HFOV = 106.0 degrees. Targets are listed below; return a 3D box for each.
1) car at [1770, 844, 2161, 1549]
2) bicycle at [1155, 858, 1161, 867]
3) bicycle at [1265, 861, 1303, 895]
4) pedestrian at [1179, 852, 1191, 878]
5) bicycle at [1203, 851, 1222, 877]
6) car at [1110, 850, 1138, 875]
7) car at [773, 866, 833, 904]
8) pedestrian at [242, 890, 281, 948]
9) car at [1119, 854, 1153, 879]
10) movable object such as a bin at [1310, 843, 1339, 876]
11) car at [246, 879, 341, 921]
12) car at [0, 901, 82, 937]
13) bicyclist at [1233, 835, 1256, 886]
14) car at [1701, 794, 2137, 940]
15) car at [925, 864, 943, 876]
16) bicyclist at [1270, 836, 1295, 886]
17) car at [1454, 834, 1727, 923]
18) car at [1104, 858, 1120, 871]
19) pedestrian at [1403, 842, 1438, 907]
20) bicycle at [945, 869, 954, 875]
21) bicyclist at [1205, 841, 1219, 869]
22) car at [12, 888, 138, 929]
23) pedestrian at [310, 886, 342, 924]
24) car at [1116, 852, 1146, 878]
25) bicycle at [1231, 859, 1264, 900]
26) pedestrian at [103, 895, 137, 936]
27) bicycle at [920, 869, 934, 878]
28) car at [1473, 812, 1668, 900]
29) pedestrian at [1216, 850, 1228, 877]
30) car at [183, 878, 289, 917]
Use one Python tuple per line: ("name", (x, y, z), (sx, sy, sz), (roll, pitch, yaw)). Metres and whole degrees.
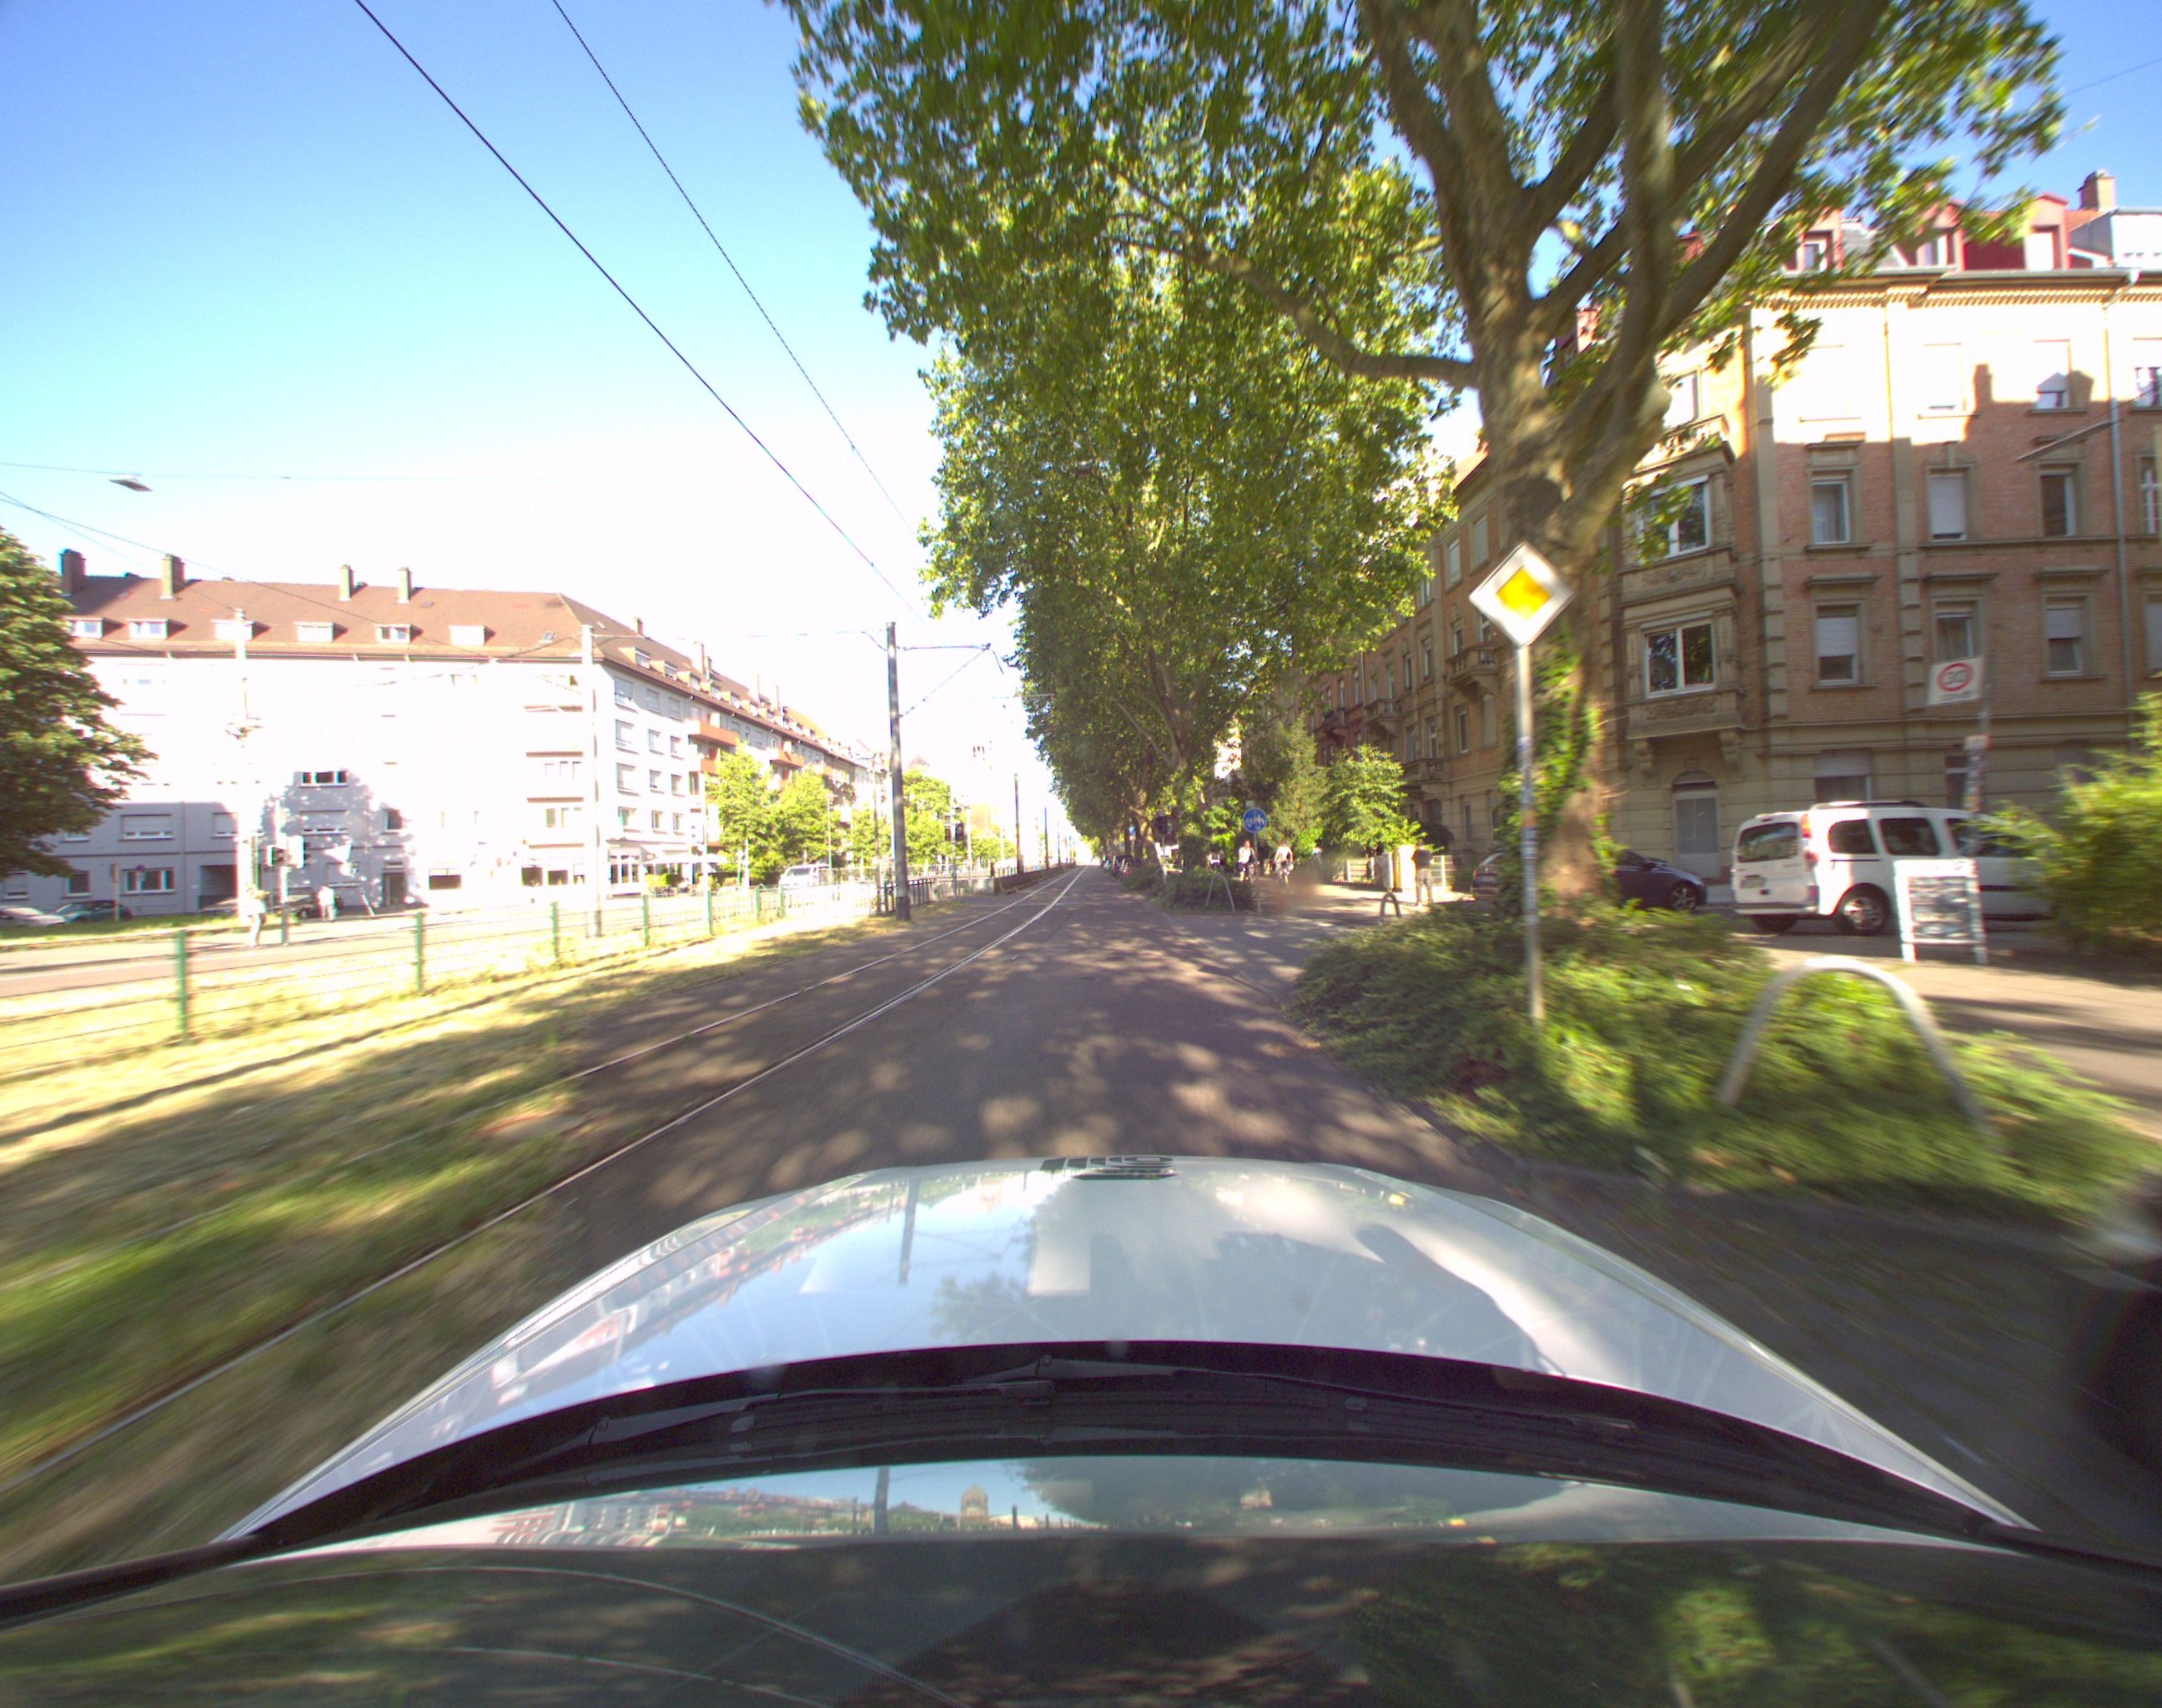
("car", (2.986, 0.674, 0.257), (1.670, 1.394, 4.571), (-4, 0, 1))
("bicycle", (9.913, 1.050, 105.197), (0.473, 1.143, 1.896), (-5, 0, 1))
("bicycle", (6.836, 0.798, 27.478), (0.560, 1.037, 1.929), (-4, 1, -6))
("pedestrian", (7.448, 0.791, 58.546), (0.687, 1.785, 0.644), (-3, 0, -1))
("bicycle", (6.706, 0.512, 41.645), (0.559, 1.178, 2.226), (-3, 2, -1))
("car", (3.731, 0.736, 71.301), (1.988, 2.013, 5.200), (-3, 0, -1))
("car", (-16.686, 1.813, 49.175), (1.989, 2.013, 5.006), (-4, -1, -3))
("pedestrian", (-24.768, 1.955, 24.625), (0.493, 1.673, 0.752), (0, -1, -14))
("car", (3.260, 0.771, 49.217), (1.709, 1.462, 3.998), (-1, -1, -1))
("movable object such as a bin", (11.397, 0.253, 38.172), (0.904, 1.464, 1.083), (-4, 0, -1))
("car", (-42.489, 2.436, 44.072), (1.820, 2.014, 3.966), (0, 0, -12))
("car", (-46.585, 2.843, 35.475), (3.662, 1.420, 1.694), (-1, 0, -9))
("bicyclist", (5.359, 0.194, 26.741), (0.541, 1.625, 0.644), (-3, 1, -1))
("car", (12.259, 0.188, 12.158), (4.533, 1.846, 1.907), (-2, -1, -1))
("car", (-20.258, 2.244, 112.605), (1.827, 1.585, 3.997), (0, 0, -1))
("bicyclist", (6.761, 0.233, 27.381), (0.542, 1.625, 0.643), (-3, 0, -6))
("car", (10.542, 0.484, 17.084), (4.535, 1.539, 1.906), (-3, -1, -2))
("car", (3.950, 1.327, 103.618), (1.796, 1.477, 4.646), (-2, -1, 0))
("pedestrian", (8.280, 0.489, 19.890), (0.537, 1.549, 0.607), (-3, 2, -1))
("bicycle", (-20.365, 2.825, 125.956), (1.272, 0.905, 0.534), (0, -1, -30))
("bicyclist", (6.688, 0.069, 41.573), (0.541, 1.380, 0.644), (-3, 2, -1))
("car", (-51.768, 2.763, 42.051), (1.995, 1.860, 3.984), (0, 0, -12))
("pedestrian", (-31.763, 2.144, 34.271), (0.655, 1.556, 0.728), (0, -1, 0))
("car", (3.354, 0.769, 55.061), (1.709, 1.549, 4.500), (-4, -1, 0))
("bicycle", (5.391, 0.806, 26.496), (0.559, 1.178, 2.225), (-3, 2, -1))
("pedestrian", (-40.251, 2.575, 34.102), (0.508, 1.655, 0.721), (-3, -1, 2))
("bicycle", (-20.754, 2.671, 109.586), (1.801, 1.178, 0.563), (0, -1, 2))
("car", (12.851, 0.006, 21.549), (3.977, 2.013, 1.999), (-3, 3, -2))
("pedestrian", (8.614, 0.562, 49.699), (0.528, 1.627, 0.618), (-4, 0, 1))
("car", (-45.073, 2.266, 43.583), (1.995, 1.860, 3.984), (0, 0, -12))
